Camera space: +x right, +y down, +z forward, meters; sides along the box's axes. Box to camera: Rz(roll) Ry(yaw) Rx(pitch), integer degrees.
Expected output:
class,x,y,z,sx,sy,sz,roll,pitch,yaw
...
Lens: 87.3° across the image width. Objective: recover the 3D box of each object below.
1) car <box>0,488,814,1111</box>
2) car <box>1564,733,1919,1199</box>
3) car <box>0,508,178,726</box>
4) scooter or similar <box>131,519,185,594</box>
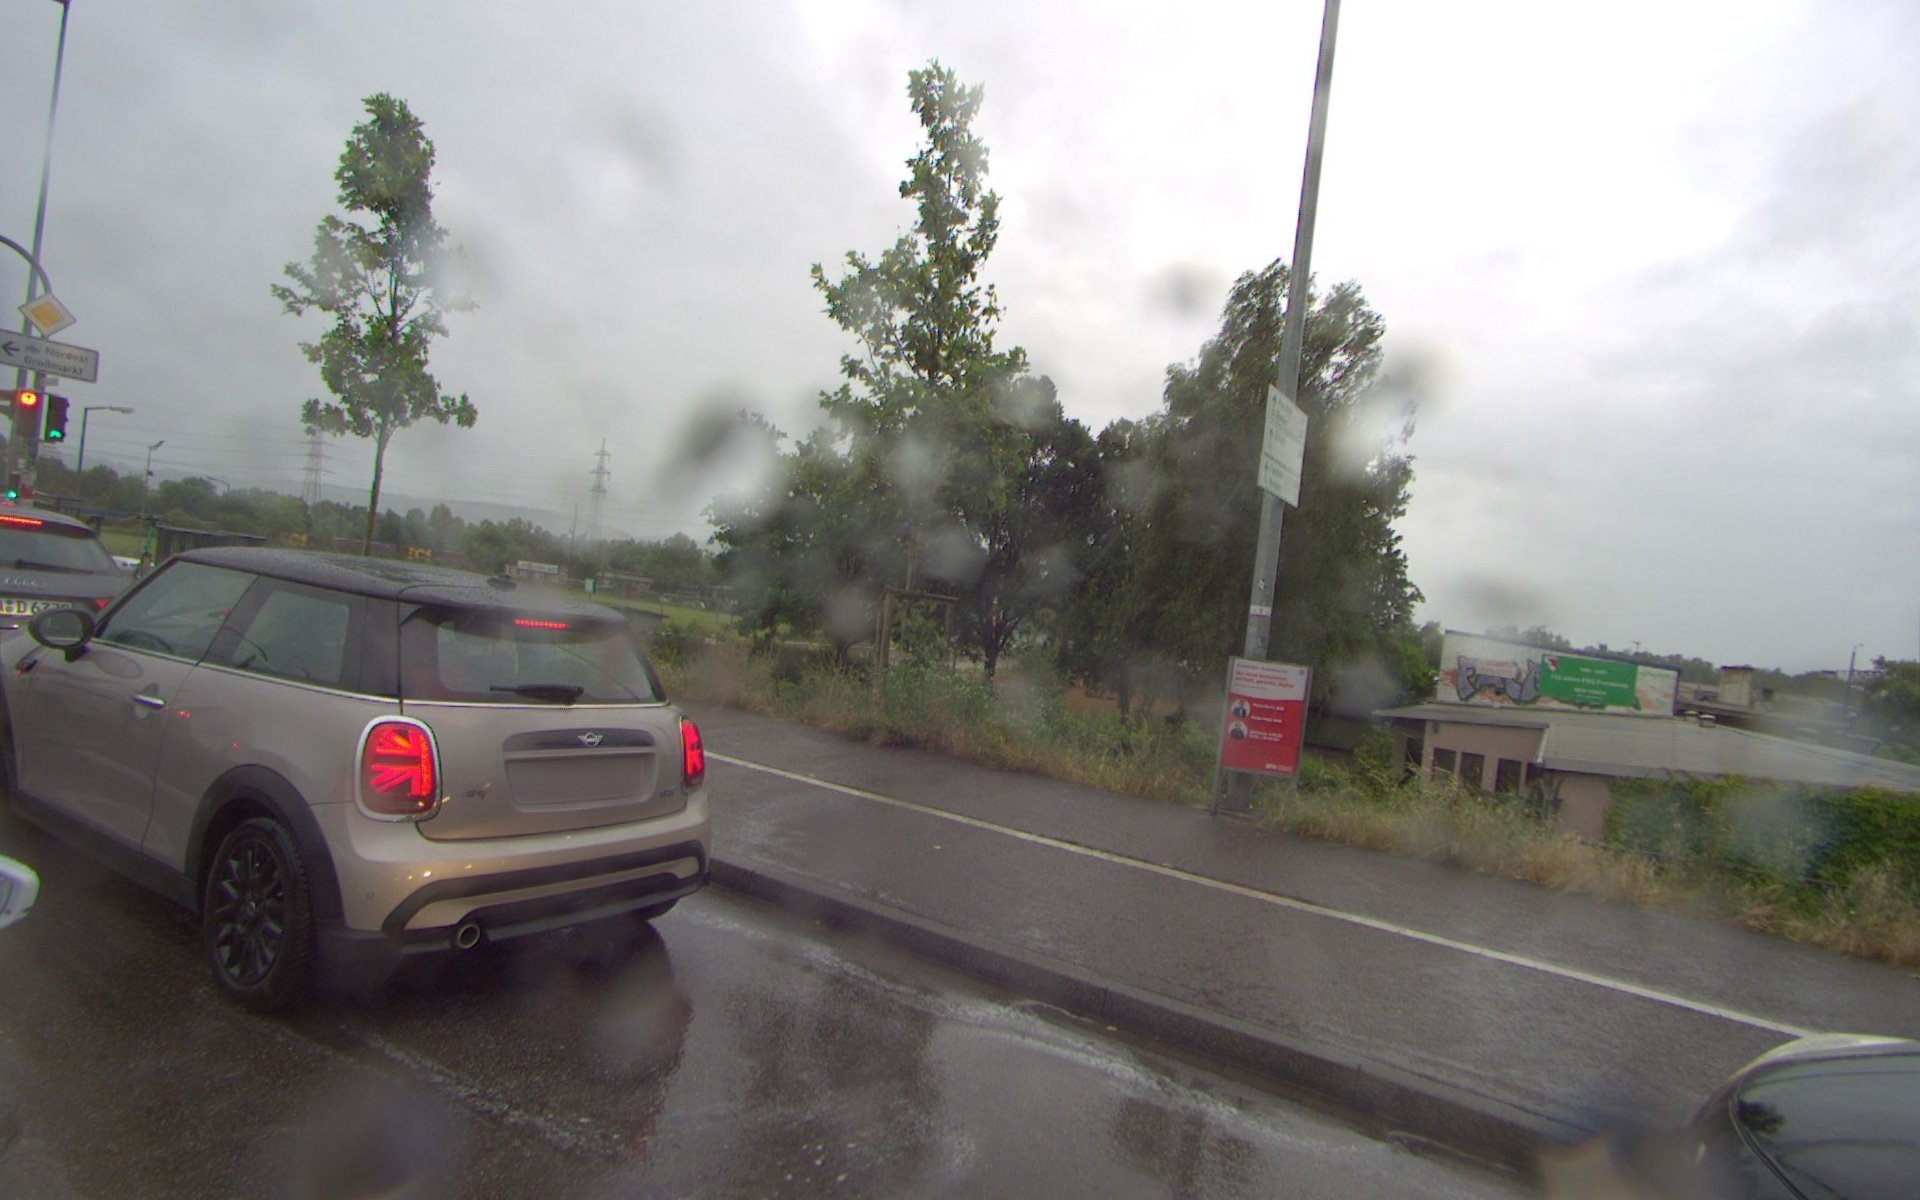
class,x,y,z,sx,sy,sz,roll,pitch,yaw
car,-2.643,0.499,4.319,3.563,1.525,1.717,7,-2,31
car,2.792,1.184,1.057,3.563,1.445,1.632,7,-1,31
car,-7.477,-0.051,7.238,3.563,1.360,1.632,6,-2,31
scooter or similar,-13.593,-0.738,17.043,1.167,1.171,0.246,6,-1,33
